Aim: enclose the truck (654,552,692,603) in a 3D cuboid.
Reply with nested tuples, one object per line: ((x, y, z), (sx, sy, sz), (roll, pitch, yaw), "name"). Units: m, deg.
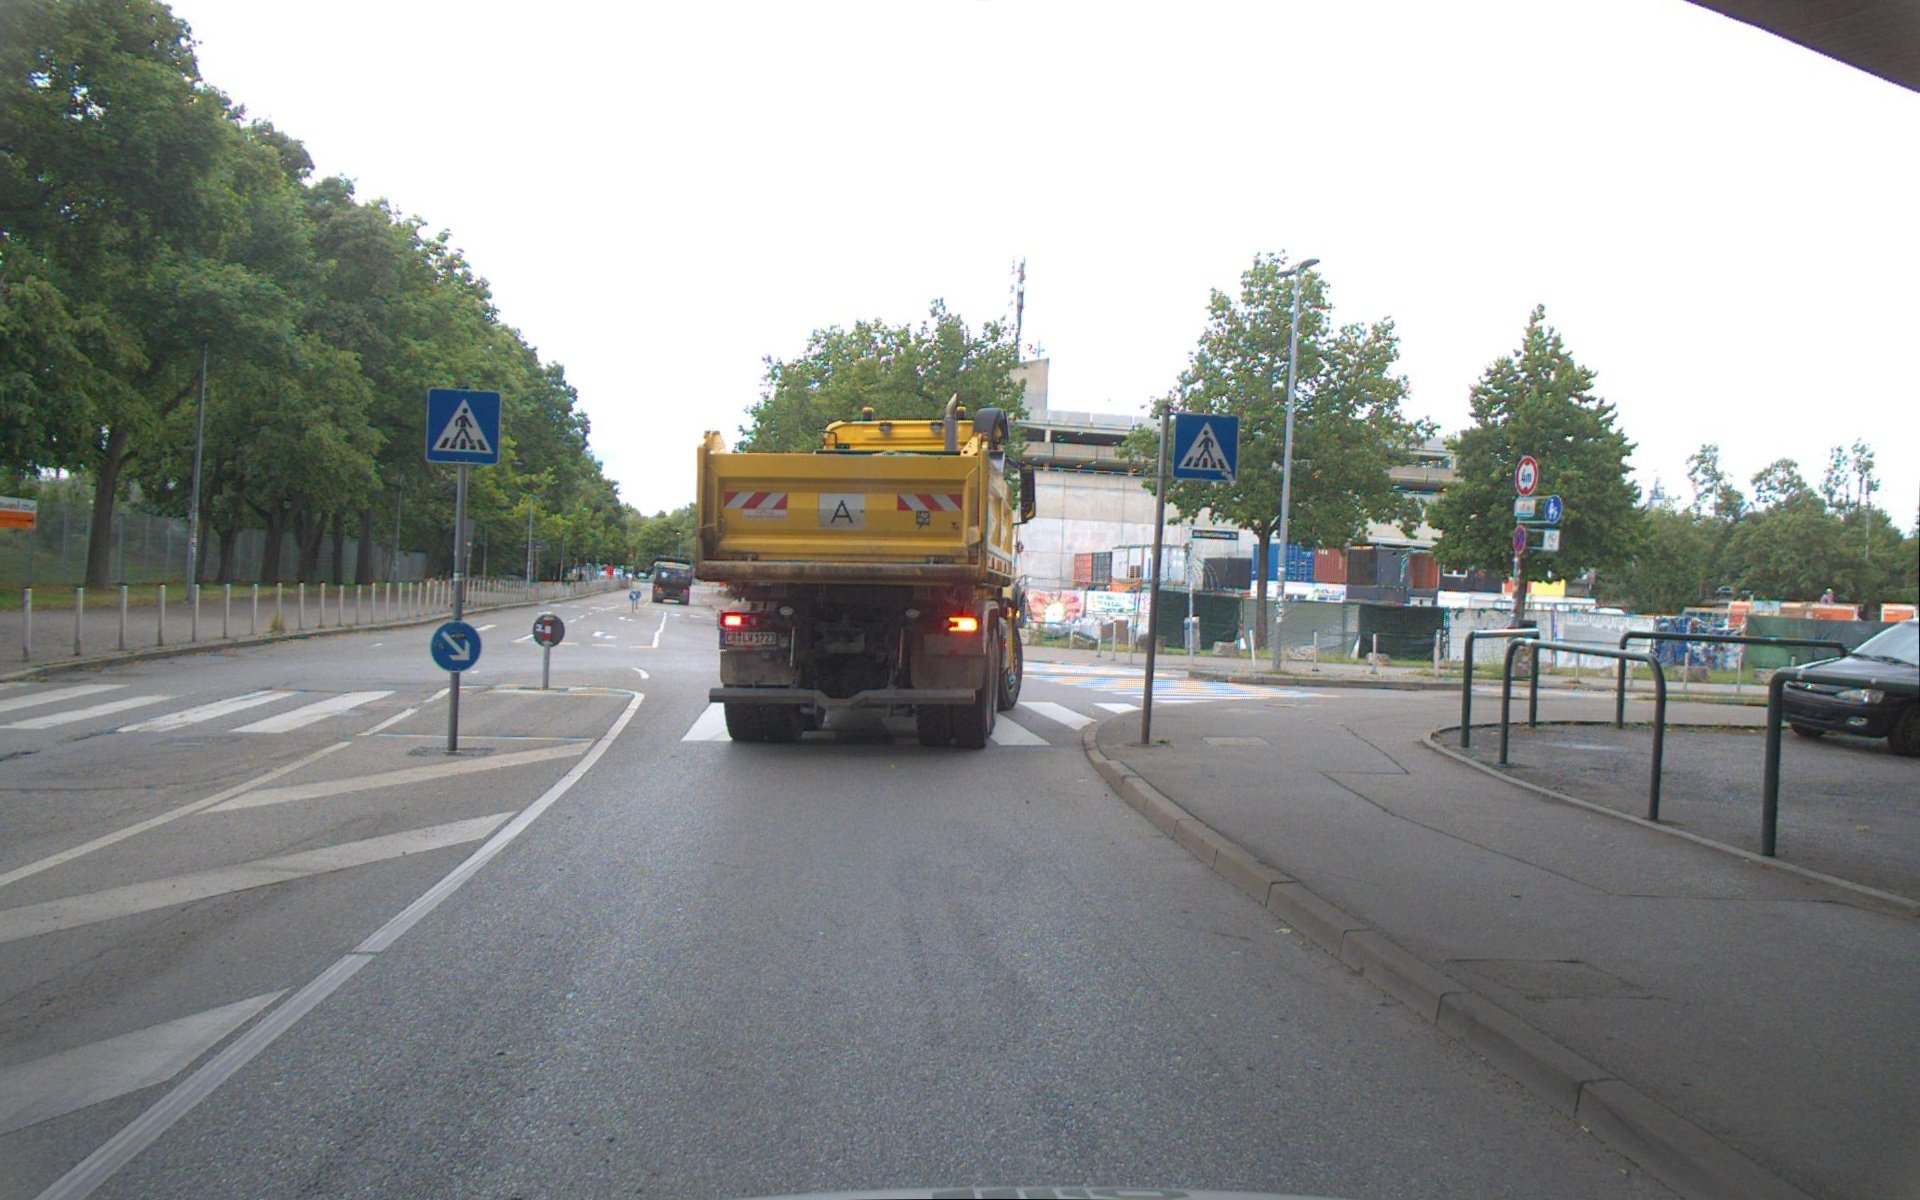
((-20.901, -1.574, 120.165), (2.625, 3.621, 7.902), (0, 0, -11), "truck")

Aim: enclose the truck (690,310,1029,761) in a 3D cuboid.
((-0.686, -0.520, 17.797), (2.700, 3.763, 7.883), (0, 0, 3), "truck")

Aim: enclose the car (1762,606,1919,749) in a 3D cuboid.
((10.756, 0.854, 17.810), (3.623, 1.352, 1.506), (3, 2, -12), "car")
